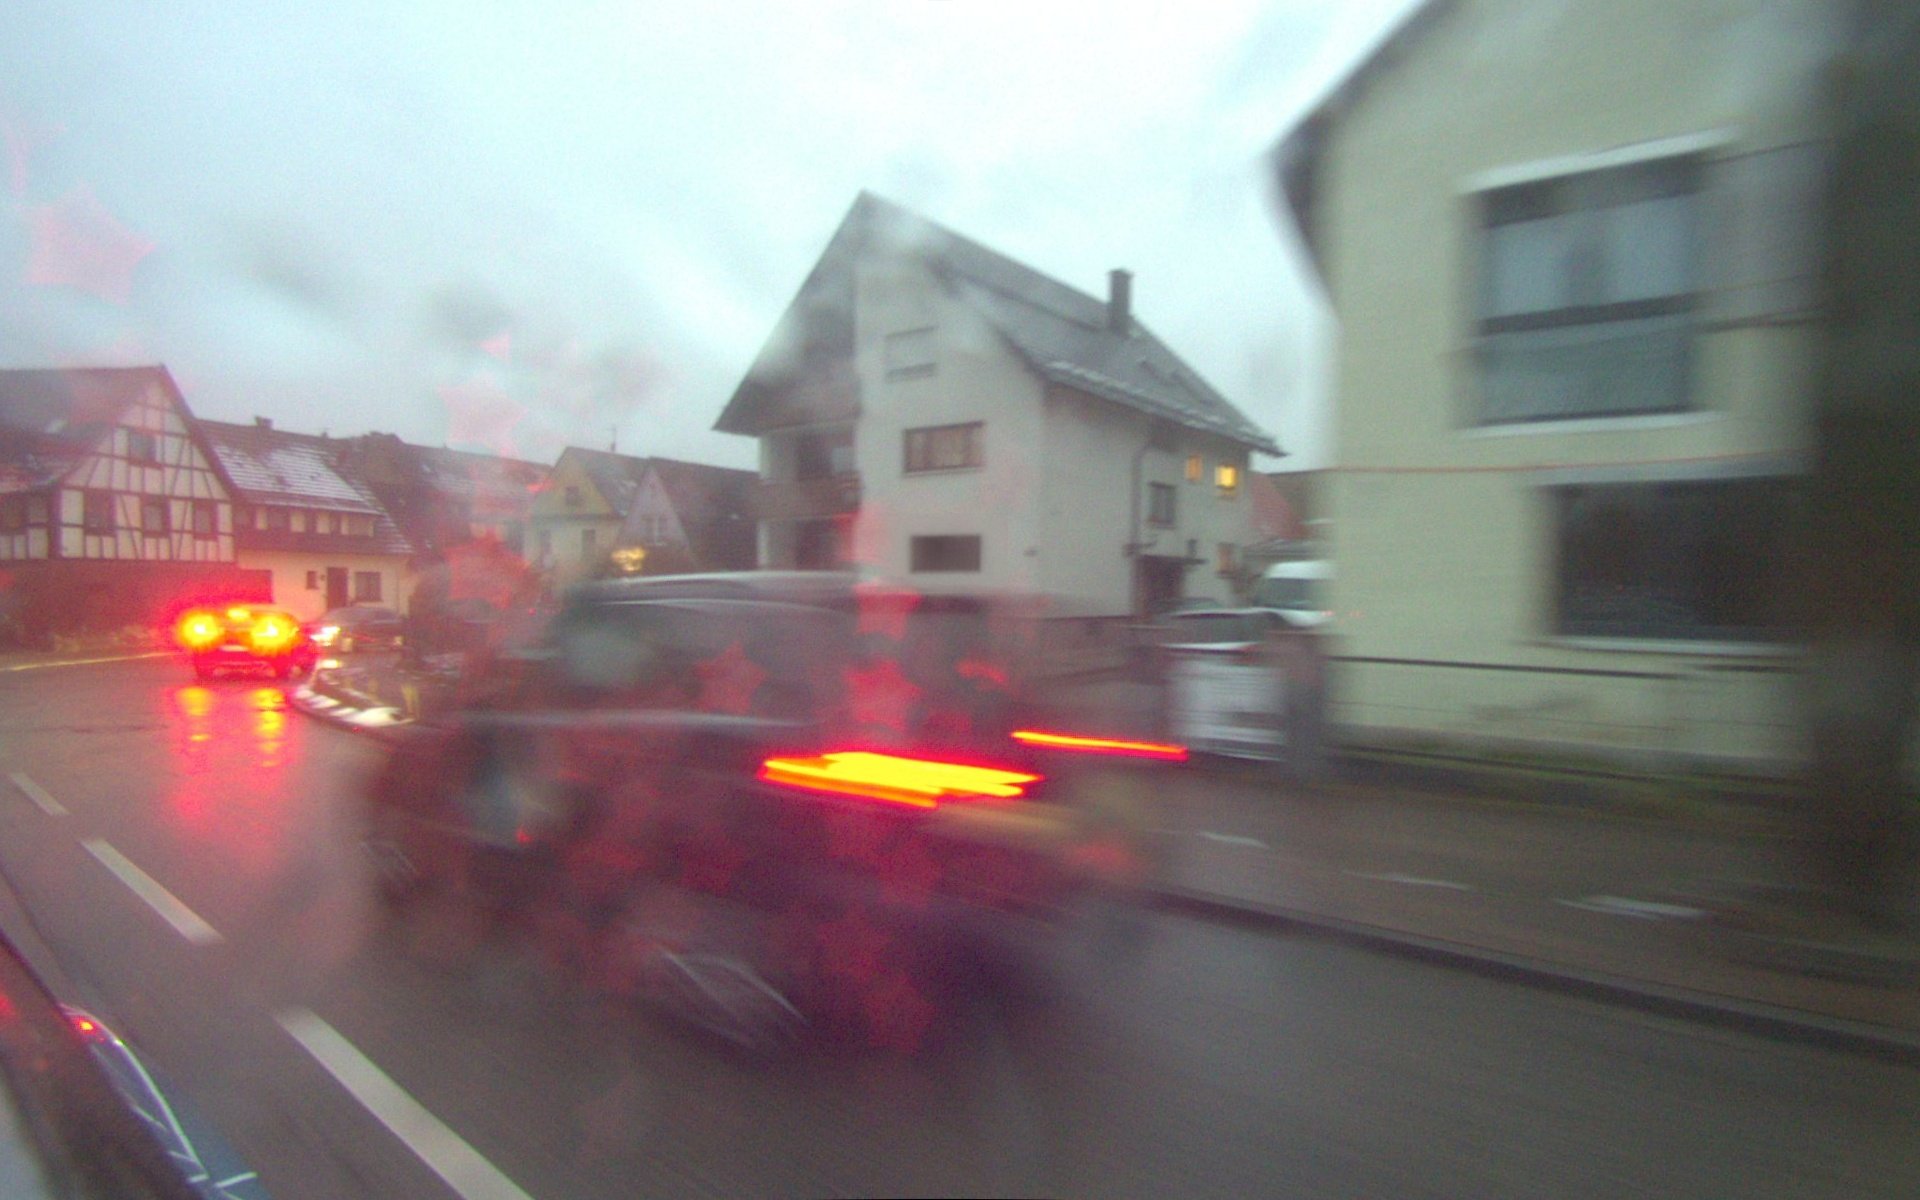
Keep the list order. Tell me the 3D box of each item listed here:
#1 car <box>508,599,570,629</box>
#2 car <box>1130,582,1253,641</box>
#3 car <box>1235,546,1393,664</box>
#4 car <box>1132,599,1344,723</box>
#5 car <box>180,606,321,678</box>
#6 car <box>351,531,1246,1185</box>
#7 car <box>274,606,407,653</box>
[{"bbox_3d":[-24.383,0.810,58.545,3.482,1.517,1.630,4,1,34],"label":"car"},{"bbox_3d":[6.445,0.298,27.884,1.818,1.497,3.949,-1,0,38],"label":"car"},{"bbox_3d":[8.775,0.103,24.752,2.209,2.559,5.288,-1,0,36],"label":"car"},{"bbox_3d":[4.056,0.739,14.339,1.815,1.473,3.956,-1,0,33],"label":"car"},{"bbox_3d":[-17.658,0.978,25.449,1.850,1.625,4.617,1,-1,-22],"label":"car"},{"bbox_3d":[-0.998,0.690,4.618,3.997,1.666,1.893,-2,-1,41],"label":"car"},{"bbox_3d":[-22.229,1.024,36.517,1.976,1.590,4.147,0,-1,7],"label":"car"}]
